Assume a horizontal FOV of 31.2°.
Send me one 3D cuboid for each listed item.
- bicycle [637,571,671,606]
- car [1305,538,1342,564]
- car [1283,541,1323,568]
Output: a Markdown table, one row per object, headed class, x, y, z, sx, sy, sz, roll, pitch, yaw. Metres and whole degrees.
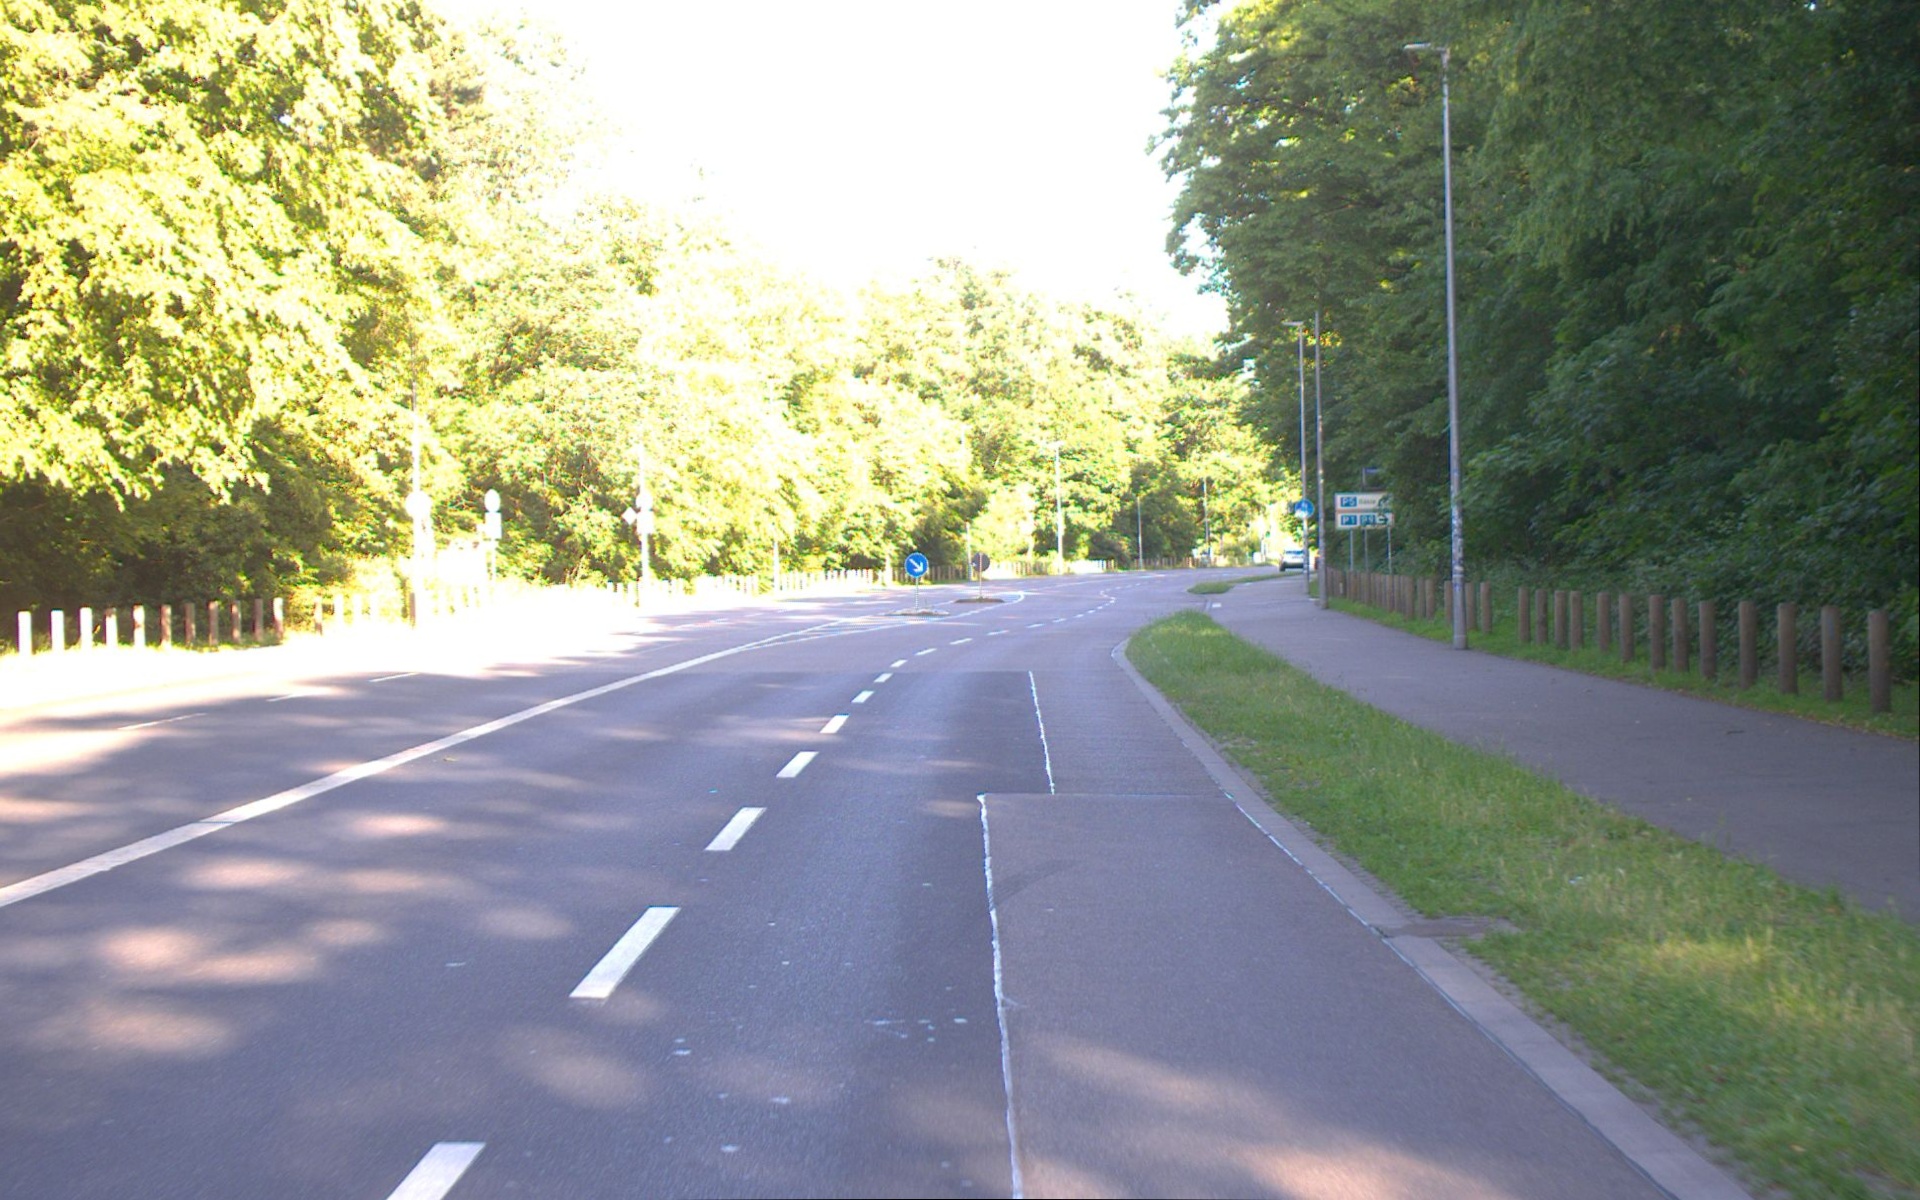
| class | x | y | z | sx | sy | sz | roll | pitch | yaw |
| --- | --- | --- | --- | --- | --- | --- | --- | --- | --- |
| bicycle | -10.016 | -0.382 | 112.623 | 0.401 | 1.128 | 2.218 | 1 | 1 | 14 |
| car | 25.830 | -3.494 | 244.233 | 1.882 | 1.759 | 3.997 | -1 | 1 | 17 |
| car | 22.950 | -3.043 | 230.131 | 1.882 | 1.703 | 3.997 | -1 | 1 | 17 |
